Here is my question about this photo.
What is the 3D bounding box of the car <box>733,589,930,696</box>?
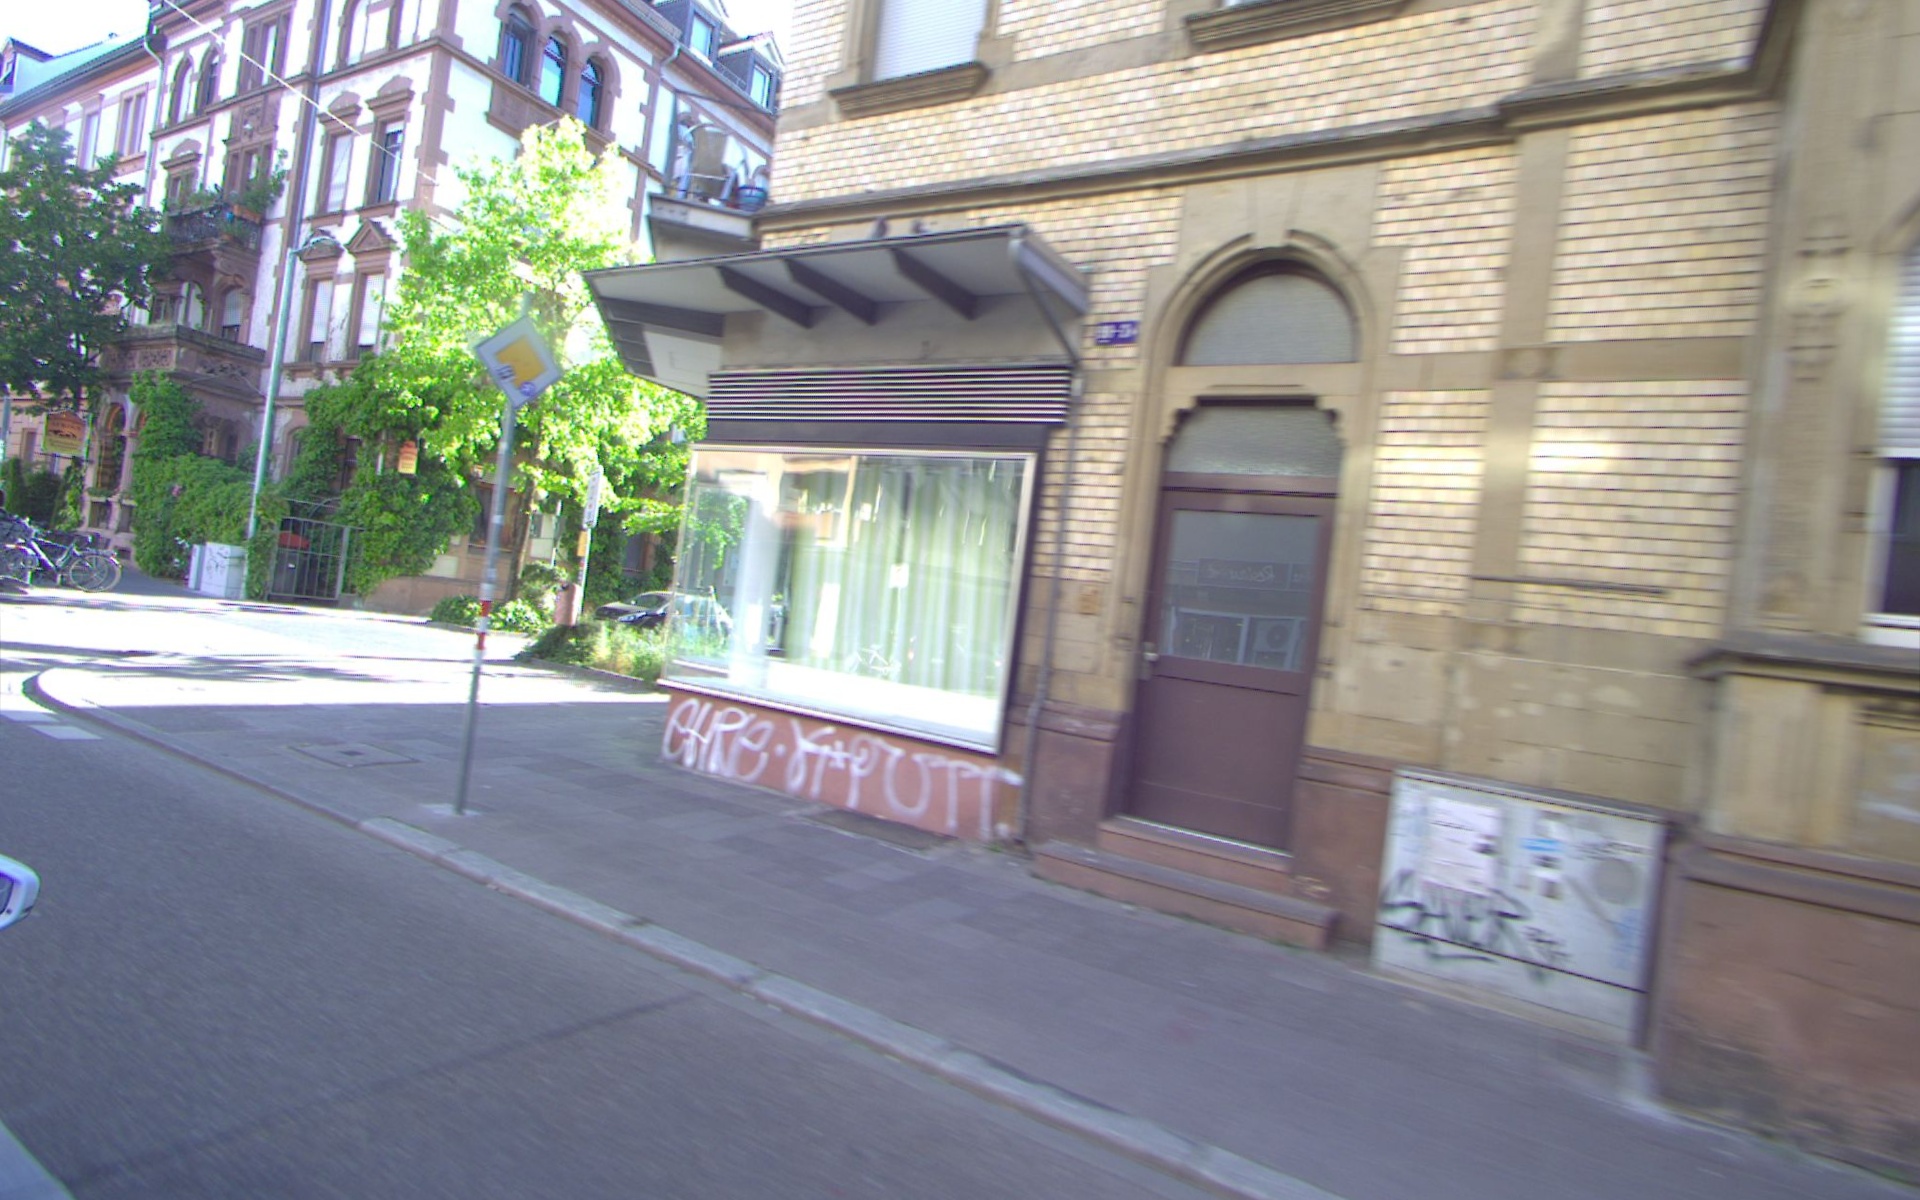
[{"bbox_3d":[-2.454,0.847,19.858,3.466,1.549,1.774,8,-2,1],"label":"car"}]

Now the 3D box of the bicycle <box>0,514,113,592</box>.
[{"bbox_3d":[-16.245,-0.840,17.856,0.543,1.140,1.676,6,-3,38],"label":"bicycle"}]

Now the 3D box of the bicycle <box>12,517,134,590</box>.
[{"bbox_3d":[-16.765,-0.865,19.050,0.543,1.140,1.557,6,-3,38],"label":"bicycle"}]

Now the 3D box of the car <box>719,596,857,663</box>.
[{"bbox_3d":[-5.030,0.917,29.944,1.684,1.469,3.995,6,-3,32],"label":"car"}]

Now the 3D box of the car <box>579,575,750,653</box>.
[{"bbox_3d":[-7.518,0.409,25.955,1.684,1.469,3.995,6,-3,32],"label":"car"}]

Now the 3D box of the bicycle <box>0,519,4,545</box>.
[{"bbox_3d":[-16.308,-0.854,15.999,0.541,1.140,1.403,7,-2,17],"label":"bicycle"}]

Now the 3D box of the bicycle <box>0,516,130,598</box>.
[{"bbox_3d":[-15.279,-0.723,17.158,0.543,1.140,1.557,6,-3,38],"label":"bicycle"}]

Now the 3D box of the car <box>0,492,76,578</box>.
[{"bbox_3d":[-20.339,-1.522,19.644,1.818,1.614,4.372,7,-3,7],"label":"car"}]

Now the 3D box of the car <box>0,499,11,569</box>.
[{"bbox_3d":[-22.647,-1.725,20.777,1.882,1.553,4.006,7,-3,7],"label":"car"}]

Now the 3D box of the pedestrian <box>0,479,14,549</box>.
[{"bbox_3d":[-25.332,-2.290,26.275,0.849,1.798,0.519,6,-2,32],"label":"pedestrian"}]

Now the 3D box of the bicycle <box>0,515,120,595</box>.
[{"bbox_3d":[-15.748,-0.767,17.503,0.520,1.140,1.557,6,-3,38],"label":"bicycle"}]
